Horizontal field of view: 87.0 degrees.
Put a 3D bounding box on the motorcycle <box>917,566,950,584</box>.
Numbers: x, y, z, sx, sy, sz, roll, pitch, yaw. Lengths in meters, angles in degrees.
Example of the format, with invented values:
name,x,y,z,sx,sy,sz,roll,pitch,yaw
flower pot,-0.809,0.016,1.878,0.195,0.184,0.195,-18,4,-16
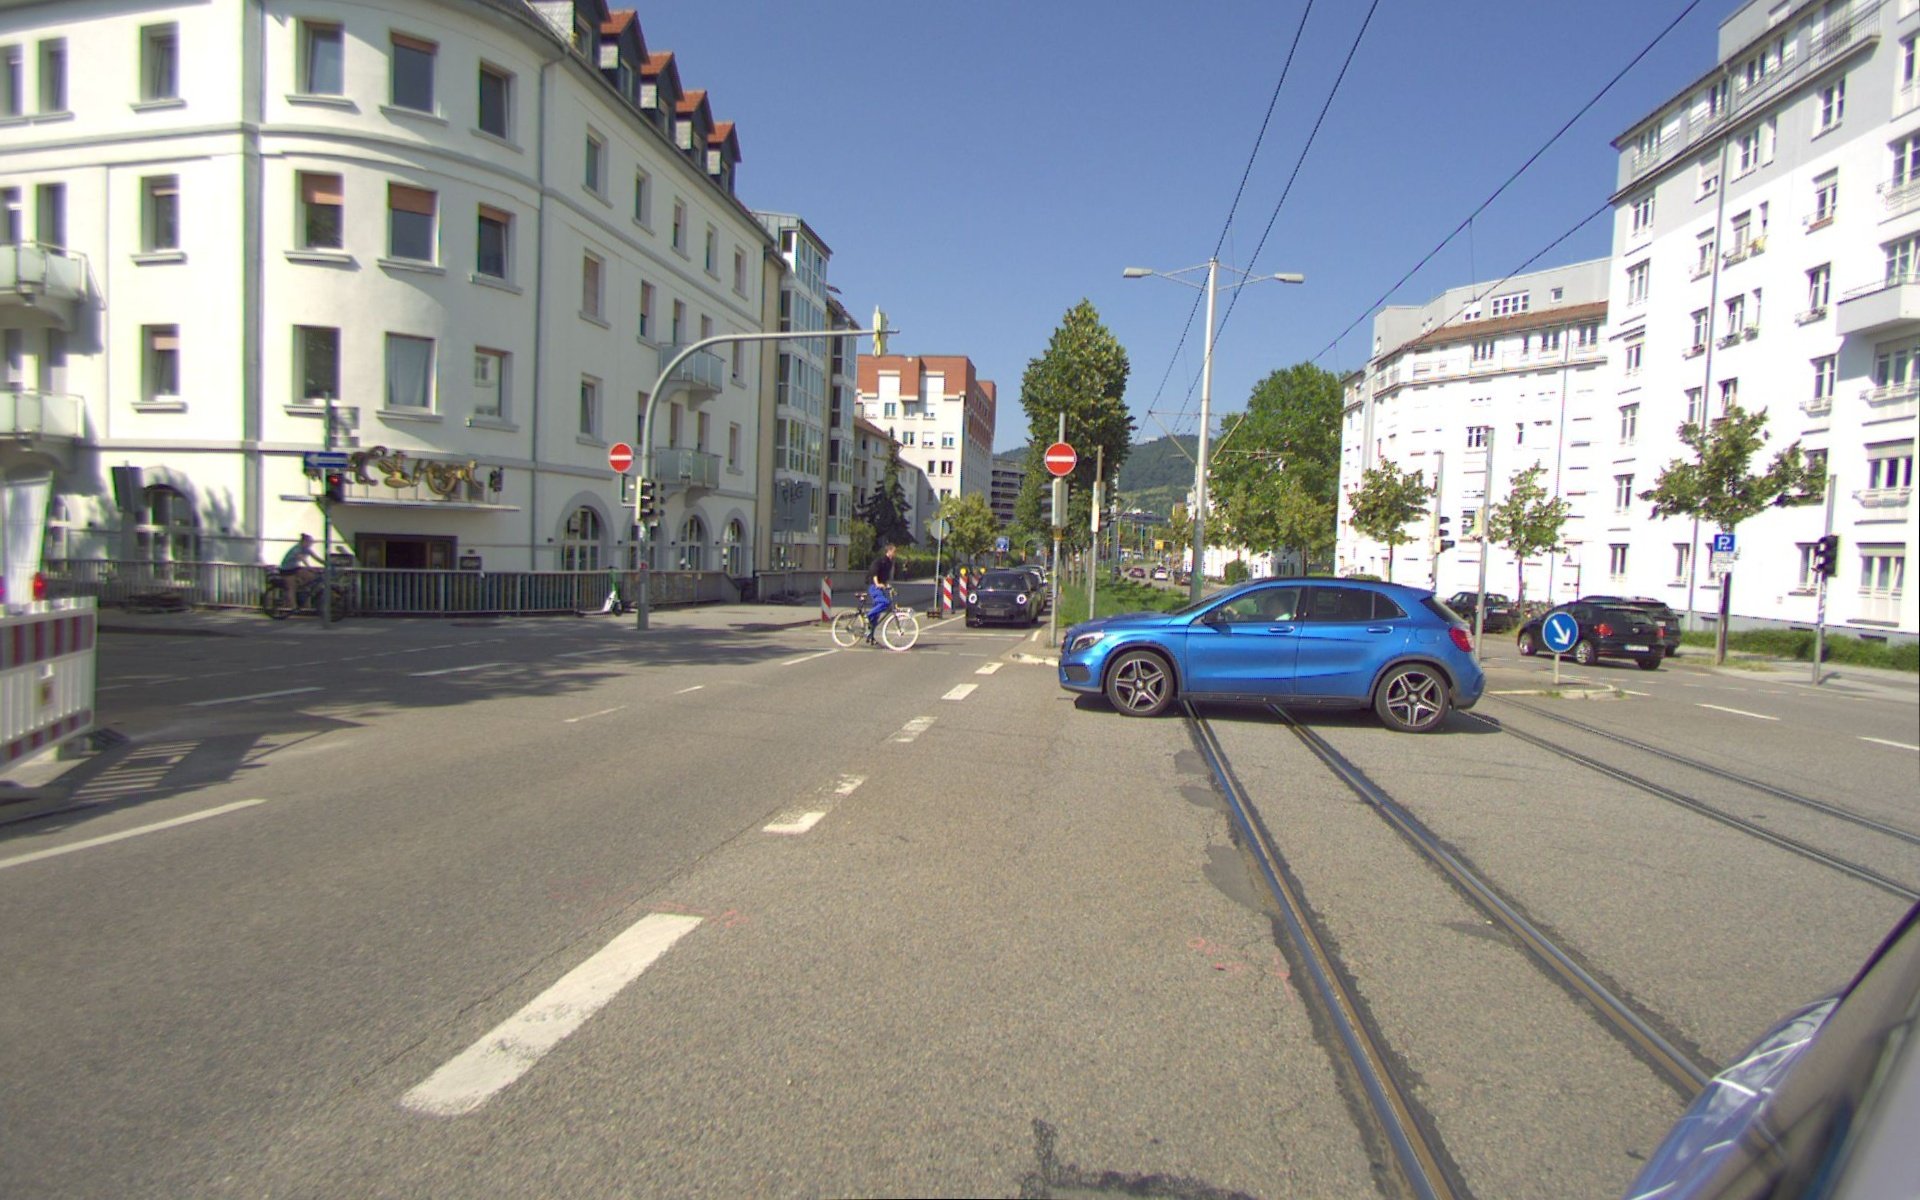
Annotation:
name,x,y,z,sx,sy,sz,roll,pitch,yaw
motorcycle,-1.800,-1.698,68.659,2.145,1.180,0.741,3,2,12

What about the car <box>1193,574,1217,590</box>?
name,x,y,z,sx,sy,sz,roll,pitch,yaw
car,24.579,-1.819,101.678,1.710,1.502,3.736,2,2,5

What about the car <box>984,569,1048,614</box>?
name,x,y,z,sx,sy,sz,roll,pitch,yaw
car,1.955,-0.326,34.091,1.739,1.371,3.991,2,2,9

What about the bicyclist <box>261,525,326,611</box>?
name,x,y,z,sx,sy,sz,roll,pitch,yaw
bicyclist,-12.785,-0.628,19.432,0.770,1.568,0.711,2,4,1

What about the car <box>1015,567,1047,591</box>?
name,x,y,z,sx,sy,sz,roll,pitch,yaw
car,4.264,-1.288,60.966,1.735,1.371,3.999,1,2,2

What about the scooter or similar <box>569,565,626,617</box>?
name,x,y,z,sx,sy,sz,roll,pitch,yaw
scooter or similar,-8.192,-0.207,22.890,0.336,1.131,1.292,3,2,28

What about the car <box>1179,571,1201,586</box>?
name,x,y,z,sx,sy,sz,roll,pitch,yaw
car,24.914,-2.378,109.765,1.710,1.502,3.736,2,2,5

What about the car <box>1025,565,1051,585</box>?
name,x,y,z,sx,sy,sz,roll,pitch,yaw
car,5.647,-1.834,73.618,1.735,1.371,3.999,1,2,2

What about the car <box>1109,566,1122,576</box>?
name,x,y,z,sx,sy,sz,roll,pitch,yaw
car,24.432,-4.497,158.909,1.768,1.502,3.734,2,2,7

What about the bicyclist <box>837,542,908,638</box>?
name,x,y,z,sx,sy,sz,roll,pitch,yaw
bicyclist,-1.580,-0.178,18.345,0.999,1.675,0.802,0,-1,25

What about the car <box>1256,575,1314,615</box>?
name,x,y,z,sx,sy,sz,roll,pitch,yaw
car,14.307,-0.248,44.759,1.668,1.575,3.650,3,2,6

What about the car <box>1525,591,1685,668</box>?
name,x,y,z,sx,sy,sz,roll,pitch,yaw
car,15.237,0.634,24.146,1.566,1.511,3.659,4,2,4

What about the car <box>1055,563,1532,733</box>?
name,x,y,z,sx,sy,sz,roll,pitch,yaw
car,3.339,0.426,10.839,4.478,1.499,1.671,2,1,11

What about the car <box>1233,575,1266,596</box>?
name,x,y,z,sx,sy,sz,roll,pitch,yaw
car,22.306,-1.161,78.021,1.710,1.502,3.736,2,2,5

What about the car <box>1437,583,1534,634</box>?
name,x,y,z,sx,sy,sz,roll,pitch,yaw
car,19.244,0.264,37.237,1.709,1.657,3.738,2,2,3

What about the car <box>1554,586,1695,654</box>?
name,x,y,z,sx,sy,sz,roll,pitch,yaw
car,18.687,0.506,28.675,1.710,1.657,3.736,2,2,5

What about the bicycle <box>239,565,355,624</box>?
name,x,y,z,sx,sy,sz,roll,pitch,yaw
bicycle,-12.729,-0.121,19.469,1.785,1.002,0.711,3,4,1

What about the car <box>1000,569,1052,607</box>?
name,x,y,z,sx,sy,sz,roll,pitch,yaw
car,2.659,-0.499,40.121,1.738,1.371,3.992,2,2,8

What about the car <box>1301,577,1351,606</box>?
name,x,y,z,sx,sy,sz,roll,pitch,yaw
car,20.944,-0.488,58.018,1.710,1.502,3.736,2,2,5

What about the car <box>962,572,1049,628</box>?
name,x,y,z,sx,sy,sz,roll,pitch,yaw
car,1.297,-0.060,27.125,1.740,1.337,3.988,2,2,11

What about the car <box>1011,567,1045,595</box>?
name,x,y,z,sx,sy,sz,roll,pitch,yaw
car,3.617,-1.046,53.837,1.736,1.371,3.997,2,2,4

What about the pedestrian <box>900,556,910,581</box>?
name,x,y,z,sx,sy,sz,roll,pitch,yaw
pedestrian,-4.078,-2.330,75.139,0.588,1.785,0.752,2,2,4

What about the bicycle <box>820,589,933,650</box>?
name,x,y,z,sx,sy,sz,roll,pitch,yaw
bicycle,-1.509,0.333,18.301,1.892,1.033,0.814,1,0,25

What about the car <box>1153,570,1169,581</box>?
name,x,y,z,sx,sy,sz,roll,pitch,yaw
car,27.323,-3.342,137.557,1.711,1.502,3.734,3,2,7

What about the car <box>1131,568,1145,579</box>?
name,x,y,z,sx,sy,sz,roll,pitch,yaw
car,25.854,-3.933,147.401,1.768,1.502,3.734,2,2,7

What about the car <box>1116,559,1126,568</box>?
name,x,y,z,sx,sy,sz,roll,pitch,yaw
car,31.475,-7.191,198.240,1.768,1.703,3.734,2,2,7

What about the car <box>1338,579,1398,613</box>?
name,x,y,z,sx,sy,sz,roll,pitch,yaw
car,20.038,-0.246,49.849,1.710,1.502,3.736,2,2,5
